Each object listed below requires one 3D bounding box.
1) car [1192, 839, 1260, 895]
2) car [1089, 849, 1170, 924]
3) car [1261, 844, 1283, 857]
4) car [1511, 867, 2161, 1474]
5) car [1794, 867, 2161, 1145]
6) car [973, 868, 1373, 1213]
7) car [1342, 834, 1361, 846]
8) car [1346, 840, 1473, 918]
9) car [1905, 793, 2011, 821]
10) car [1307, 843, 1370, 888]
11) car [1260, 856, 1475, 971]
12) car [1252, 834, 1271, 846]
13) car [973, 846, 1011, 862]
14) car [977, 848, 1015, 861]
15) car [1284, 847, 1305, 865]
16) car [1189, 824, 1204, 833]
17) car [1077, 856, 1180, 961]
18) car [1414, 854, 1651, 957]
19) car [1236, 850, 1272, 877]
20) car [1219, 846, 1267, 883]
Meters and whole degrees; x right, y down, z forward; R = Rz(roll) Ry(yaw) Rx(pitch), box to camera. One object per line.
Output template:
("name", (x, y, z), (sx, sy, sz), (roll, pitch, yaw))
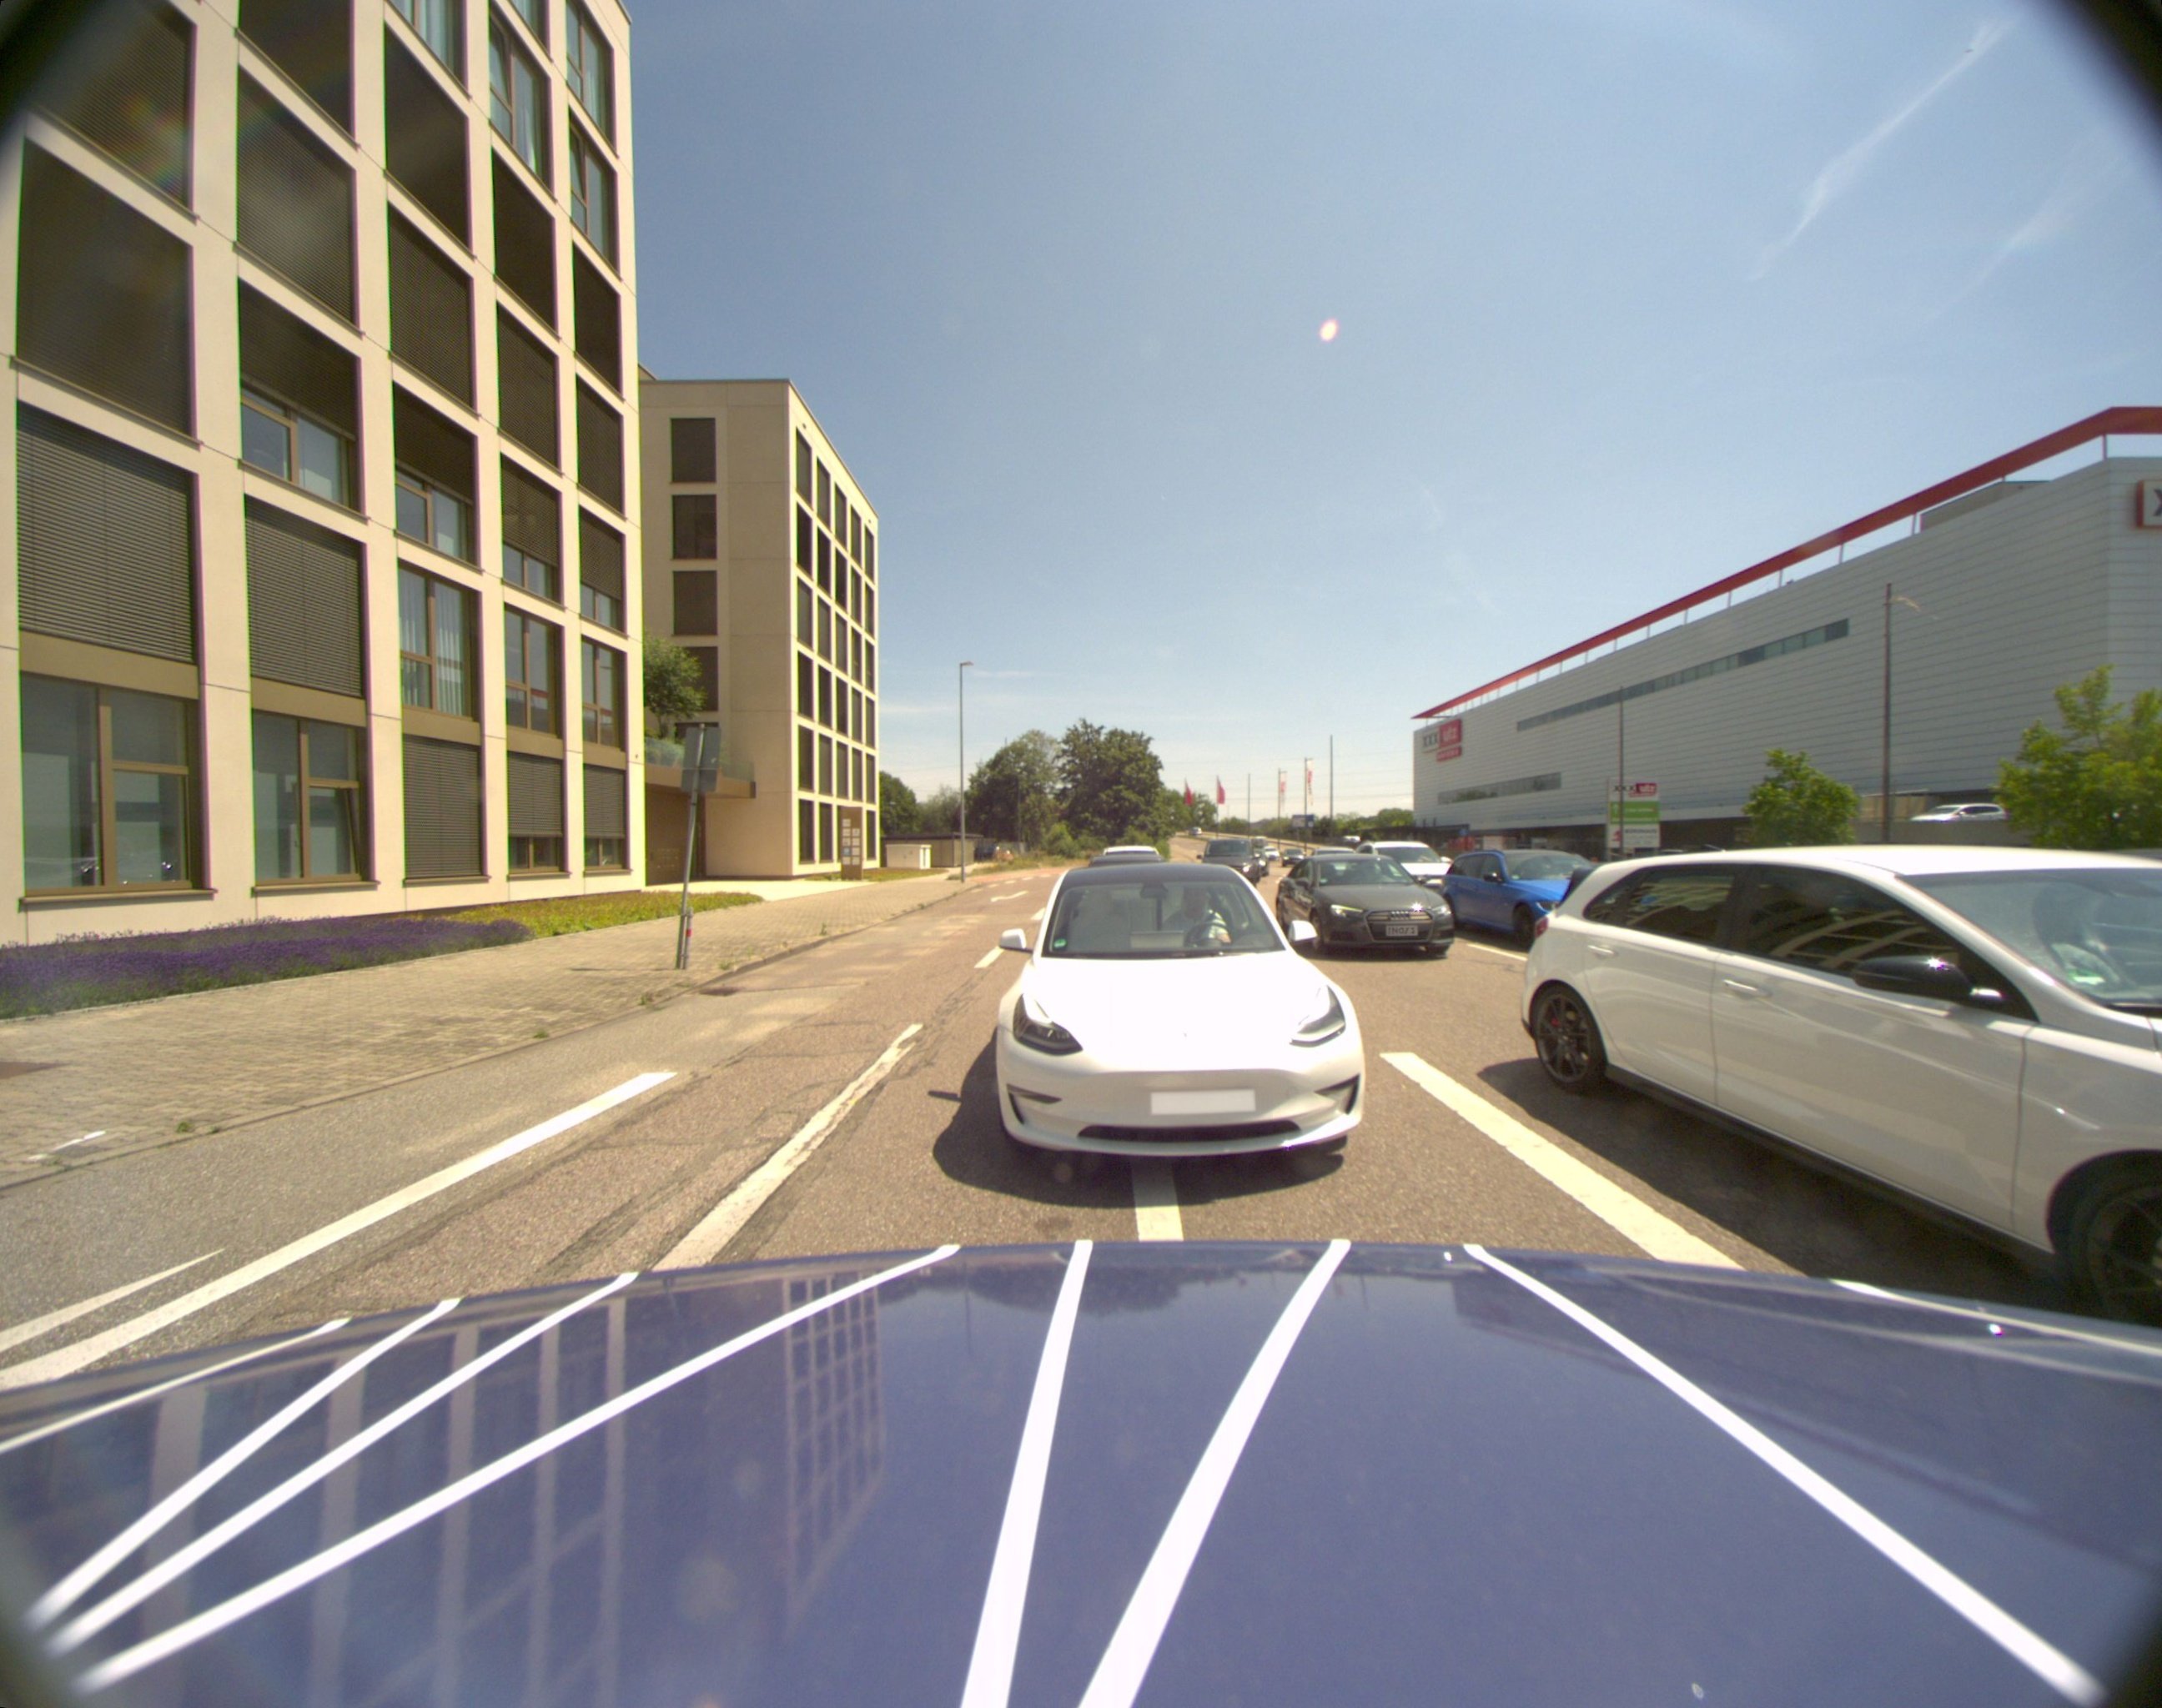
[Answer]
("car", (5.124, 0.395, 27.414), (1.895, 1.811, 4.838), (-1, 1, 5))
("car", (1.231, 0.703, 18.649), (1.777, 1.600, 3.821), (0, 1, 5))
("car", (21.917, -0.400, 87.316), (1.725, 1.463, 4.000), (0, 1, 3))
("car", (3.660, 0.842, 2.868), (1.792, 1.428, 4.070), (-2, 1, 1))
("car", (6.529, 0.816, 3.871), (1.675, 1.396, 4.467), (-2, 0, 2))
("car", (0.462, 0.921, 5.703), (1.823, 1.428, 4.284), (-2, 1, 1))
("car", (52.018, -2.641, 146.319), (2.191, 2.270, 4.814), (0, 1, 4))
("car", (7.856, 0.512, 18.623), (1.768, 1.632, 4.494), (-2, 1, 9))
("car", (51.729, -2.758, 44.884), (3.995, 1.499, 1.718), (0, 1, 6))
("car", (9.061, 0.375, 27.000), (1.767, 1.414, 3.903), (-2, 0, 14))
("car", (4.106, 0.763, 11.647), (1.769, 1.374, 4.089), (-1, 1, 0))
("car", (27.727, -2.157, 117.014), (1.867, 1.713, 4.041), (0, 1, -3))
("car", (-9.292, -0.003, 79.156), (3.834, 1.543, 1.736), (0, 1, -13))
("car", (-9.126, 0.042, 81.211), (3.834, 1.386, 1.736), (0, 1, -13))
("car", (18.469, 0.150, 65.653), (1.724, 1.543, 4.005), (0, 1, 16))
("car", (23.710, -5.166, 155.774), (1.868, 1.713, 4.039), (0, 0, -11))
("car", (0.871, 0.830, 13.378), (1.556, 1.528, 3.822), (0, 1, 5))
("car", (7.288, 0.726, 12.860), (1.768, 1.395, 4.433), (-2, 0, 7))
("car", (9.886, 0.503, 43.357), (1.606, 1.431, 3.738), (0, 1, 19))
("car", (7.559, 0.432, 35.201), (1.811, 1.630, 4.005), (0, 1, 18))
